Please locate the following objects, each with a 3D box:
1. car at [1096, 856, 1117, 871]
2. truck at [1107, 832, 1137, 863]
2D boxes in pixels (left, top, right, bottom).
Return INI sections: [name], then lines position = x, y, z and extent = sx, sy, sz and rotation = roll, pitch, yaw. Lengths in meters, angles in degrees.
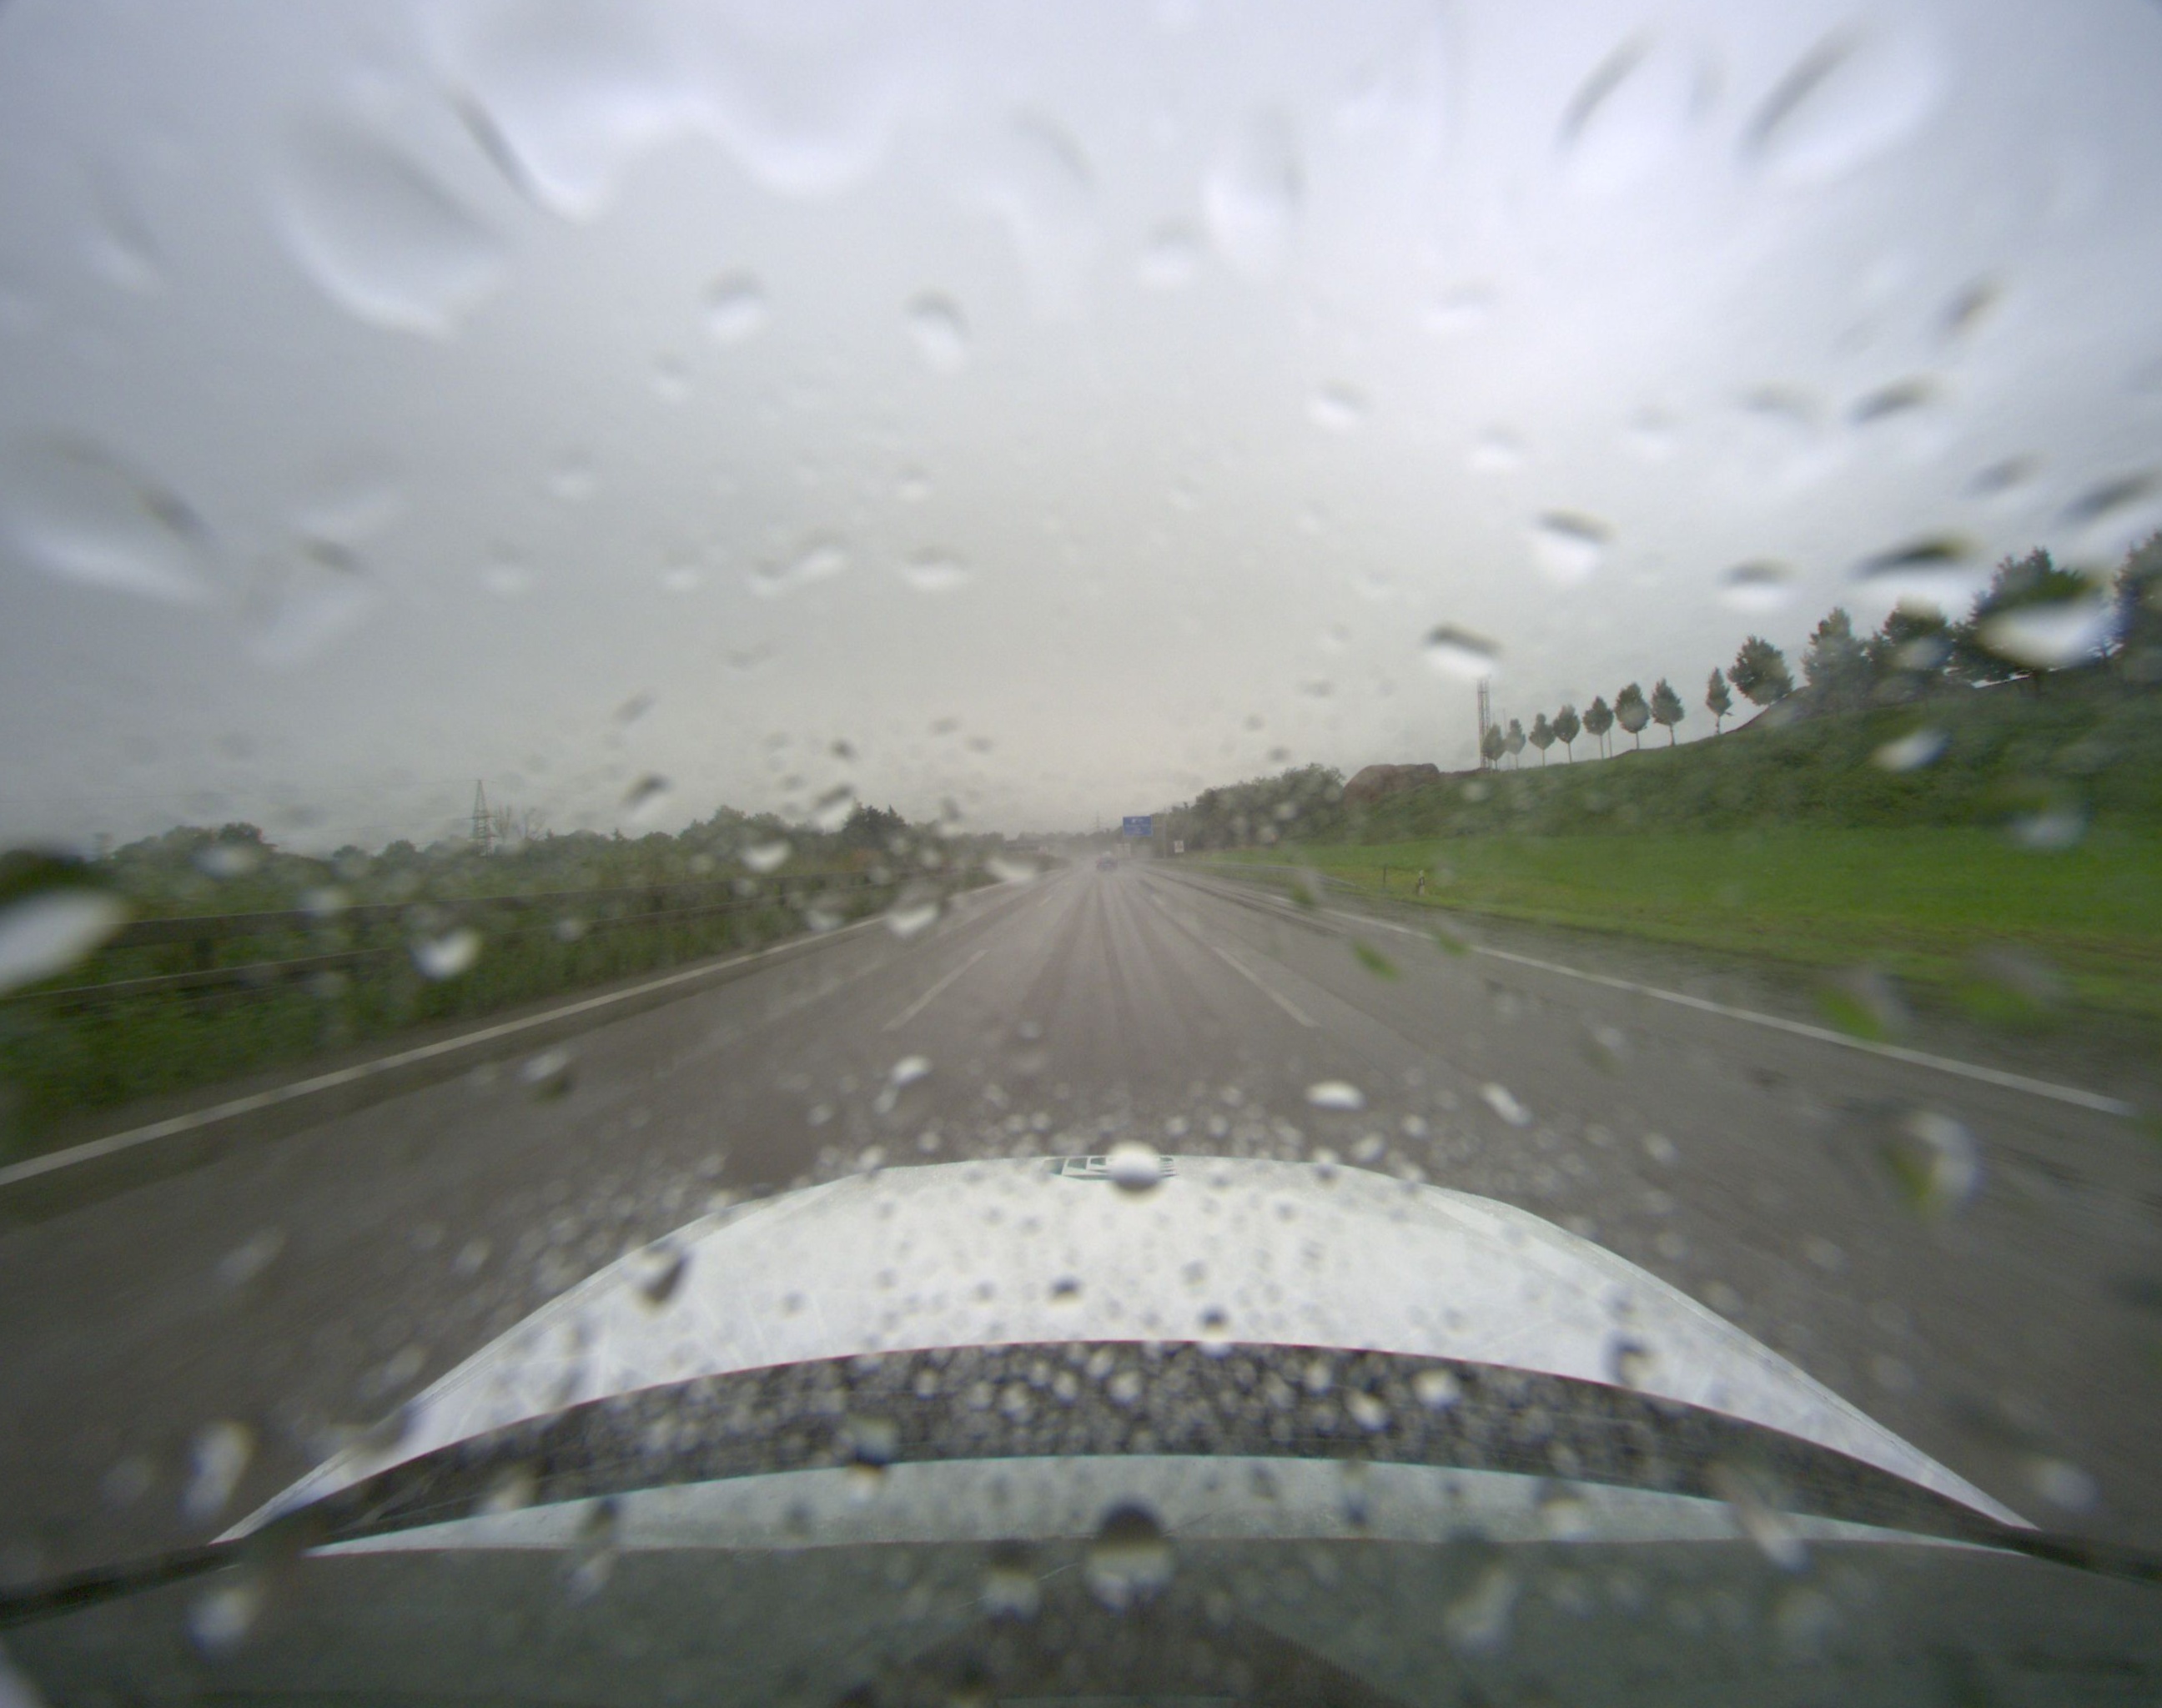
[car]
position = 2.133, 0.814, 69.061
extent = 1.743, 1.212, 4.000
rotation = -1, 0, 1
[truck]
position = 7.467, -1.143, 151.624
extent = 4.243, 4.971, 17.337
rotation = -5, 0, 0
